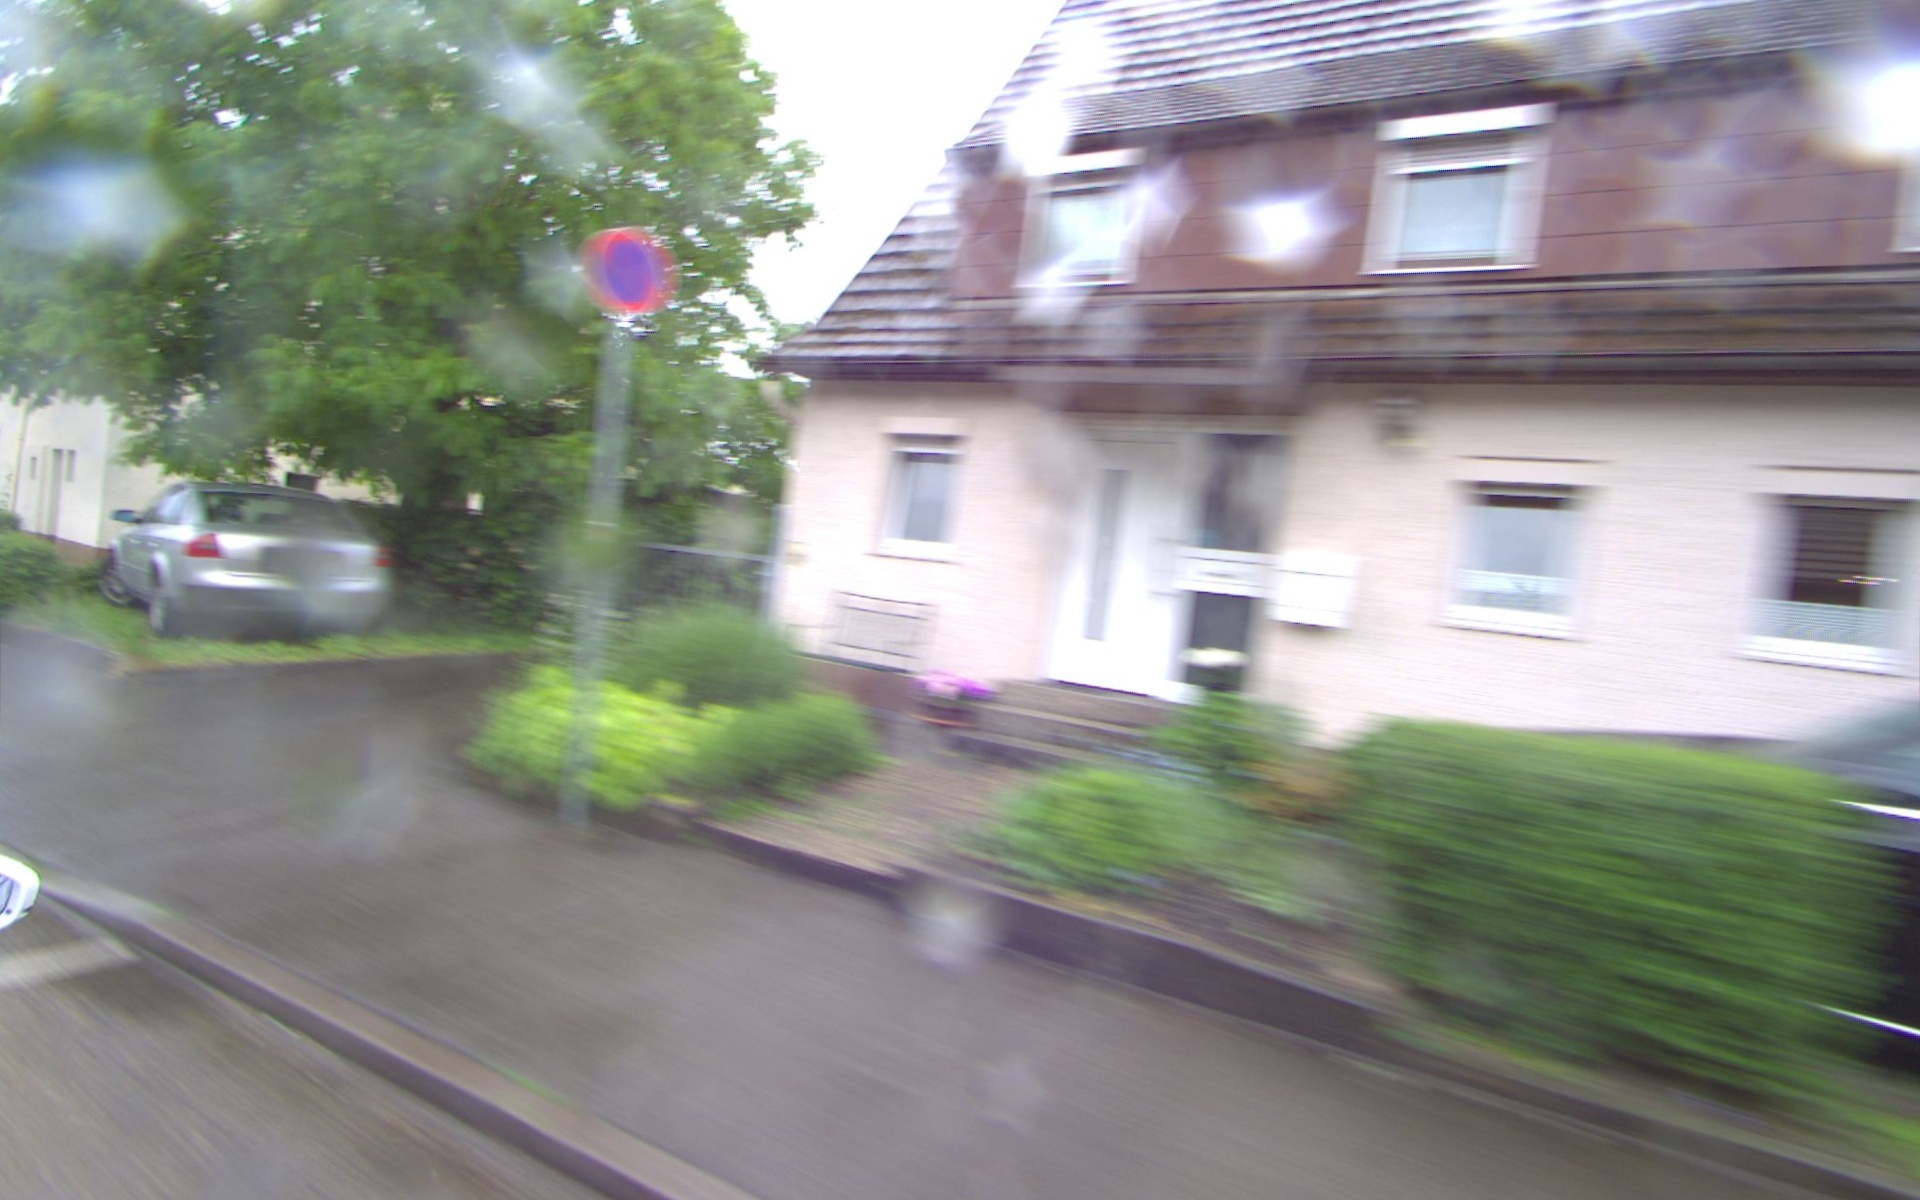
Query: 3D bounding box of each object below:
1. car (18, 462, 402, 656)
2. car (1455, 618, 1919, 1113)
[{"bbox_3d":[-7.358,-0.419,9.819,3.615,1.448,1.640,7,0,30],"label":"car"},{"bbox_3d":[4.133,1.005,3.409,1.749,1.414,3.950,-1,7,-42],"label":"car"}]
